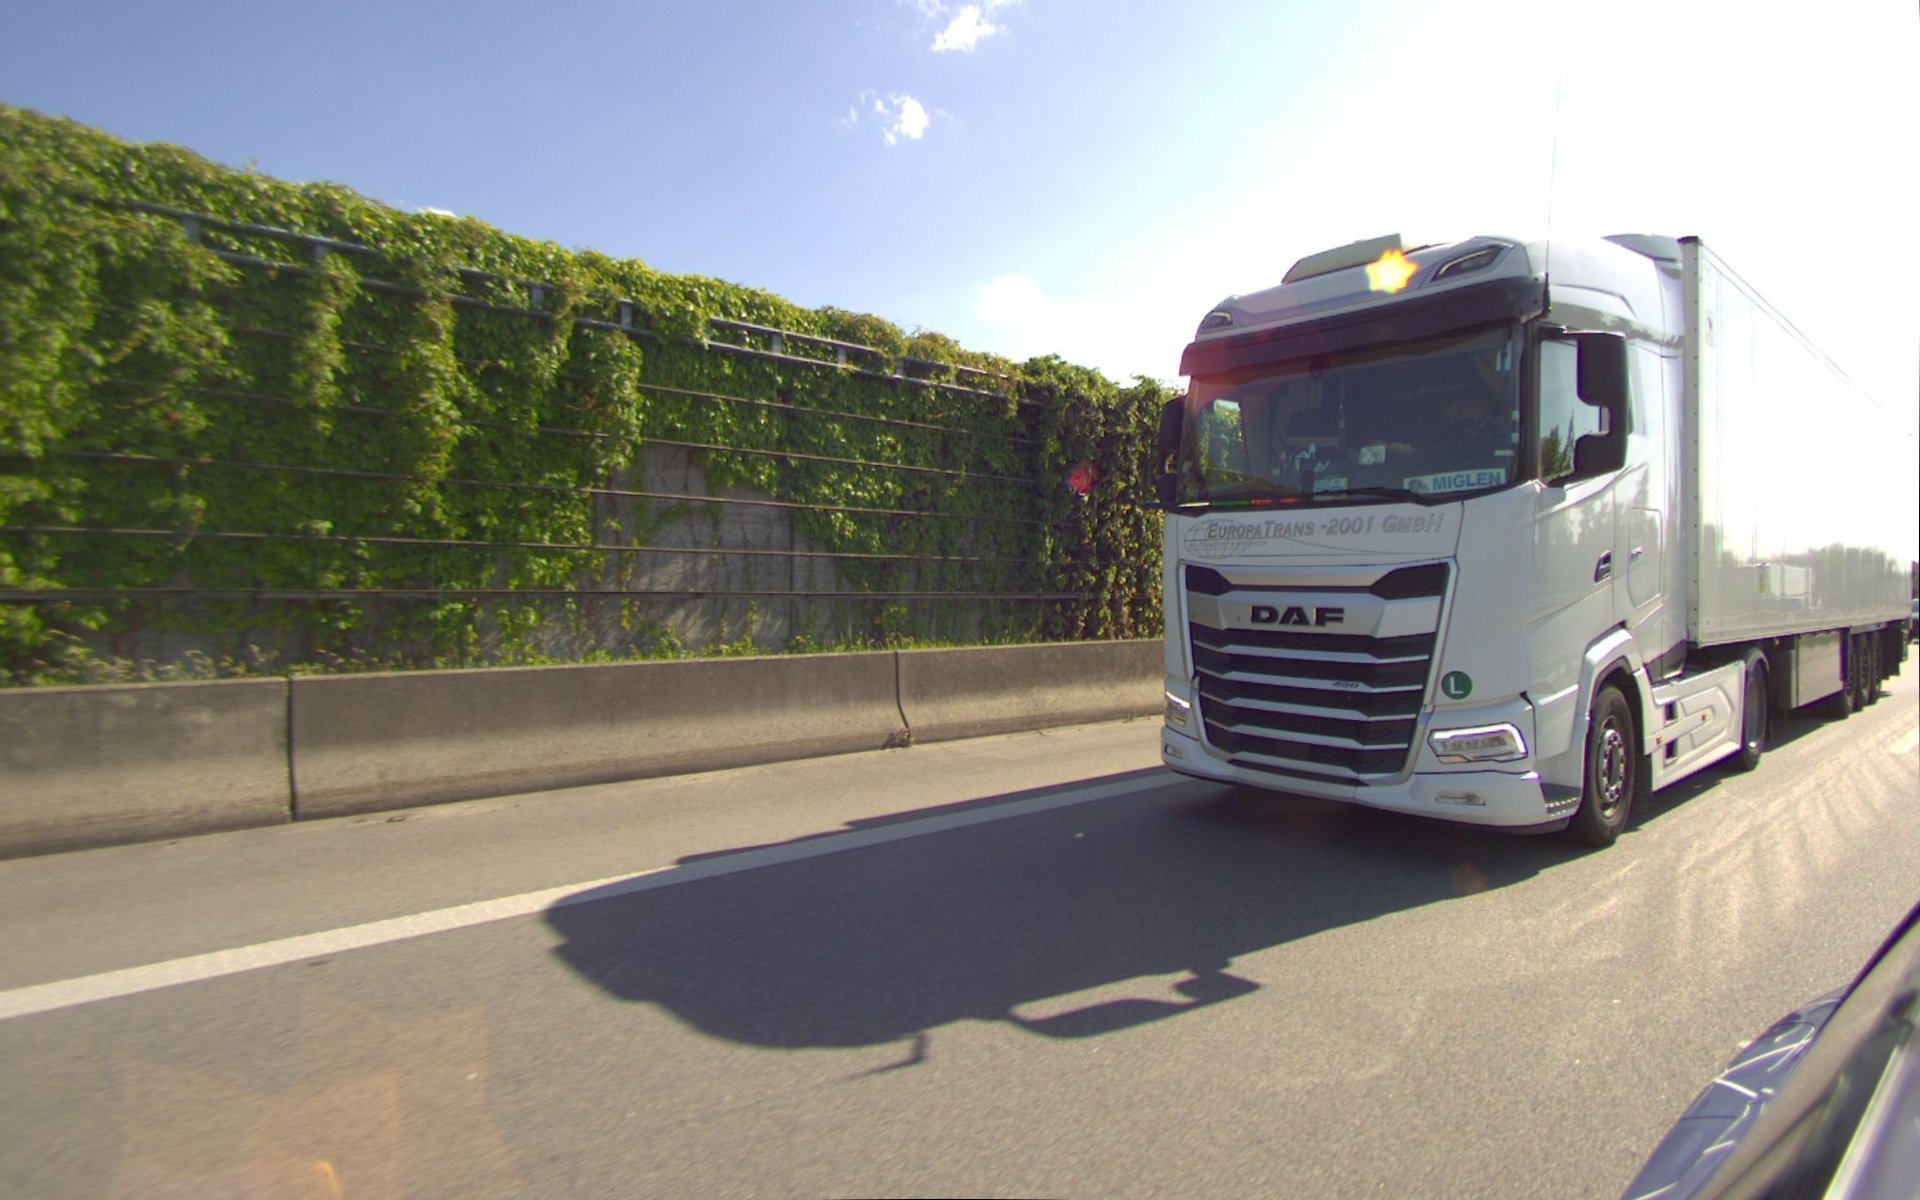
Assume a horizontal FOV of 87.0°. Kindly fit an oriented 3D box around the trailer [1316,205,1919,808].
[{"bbox_3d":[9.316,-0.660,12.472,13.915,4.015,2.824,0,3,-42],"label":"trailer"}]

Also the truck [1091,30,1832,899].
[{"bbox_3d":[4.461,-0.674,8.093,6.923,4.015,2.845,0,3,-42],"label":"truck"}]

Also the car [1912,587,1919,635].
[{"bbox_3d":[31.947,0.364,32.480,4.466,1.472,1.668,0,2,-42],"label":"car"}]
